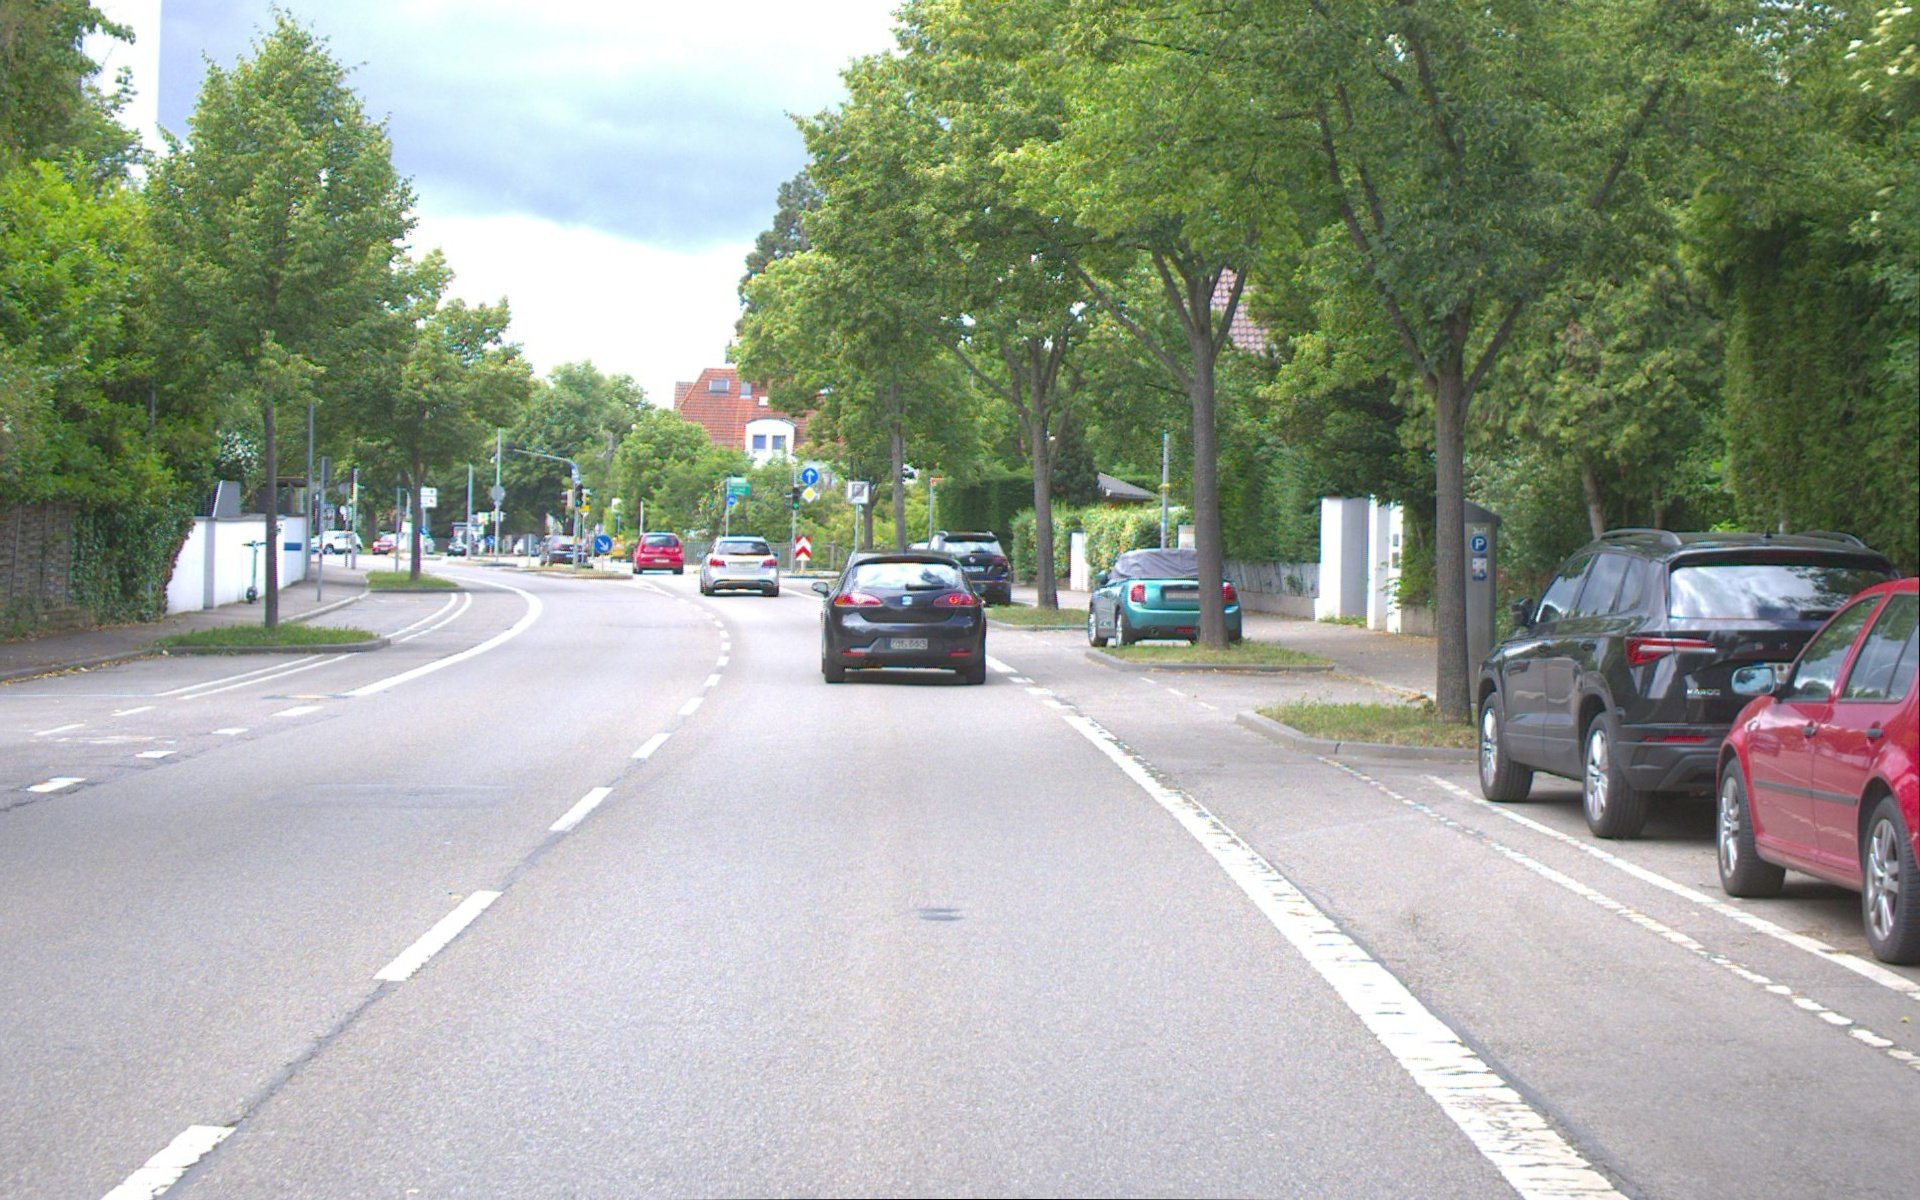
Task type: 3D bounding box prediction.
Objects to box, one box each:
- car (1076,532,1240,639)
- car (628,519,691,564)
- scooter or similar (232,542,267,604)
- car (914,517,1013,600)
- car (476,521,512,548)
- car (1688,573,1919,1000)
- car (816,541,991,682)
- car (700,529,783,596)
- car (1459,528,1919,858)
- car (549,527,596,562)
[{"bbox_3d":[2.759,-0.228,48.662,1.683,1.427,4.045,1,1,-6],"label":"car"},{"bbox_3d":[-10.580,-2.045,120.845,1.993,1.525,4.001,1,1,-8],"label":"car"},{"bbox_3d":[-13.426,-0.509,64.975,0.501,1.150,1.301,1,1,-6],"label":"scooter or similar"},{"bbox_3d":[0.051,-0.926,76.196,1.788,1.765,3.983,1,1,-6],"label":"car"},{"bbox_3d":[-29.891,-4.178,220.565,1.973,1.670,3.877,1,1,-4],"label":"car"},{"bbox_3d":[4.117,0.625,13.665,1.638,1.415,4.000,1,1,1],"label":"car"},{"bbox_3d":[-0.660,0.093,37.641,1.783,1.444,3.558,1,1,-3],"label":"car"},{"bbox_3d":[-5.490,-0.923,86.015,1.993,1.552,4.000,0,-1,-5],"label":"car"},{"bbox_3d":[4.016,0.428,19.141,1.638,1.610,4.170,1,1,-3],"label":"car"},{"bbox_3d":[-17.602,-2.531,156.292,1.993,1.503,4.001,1,0,-5],"label":"car"}]
